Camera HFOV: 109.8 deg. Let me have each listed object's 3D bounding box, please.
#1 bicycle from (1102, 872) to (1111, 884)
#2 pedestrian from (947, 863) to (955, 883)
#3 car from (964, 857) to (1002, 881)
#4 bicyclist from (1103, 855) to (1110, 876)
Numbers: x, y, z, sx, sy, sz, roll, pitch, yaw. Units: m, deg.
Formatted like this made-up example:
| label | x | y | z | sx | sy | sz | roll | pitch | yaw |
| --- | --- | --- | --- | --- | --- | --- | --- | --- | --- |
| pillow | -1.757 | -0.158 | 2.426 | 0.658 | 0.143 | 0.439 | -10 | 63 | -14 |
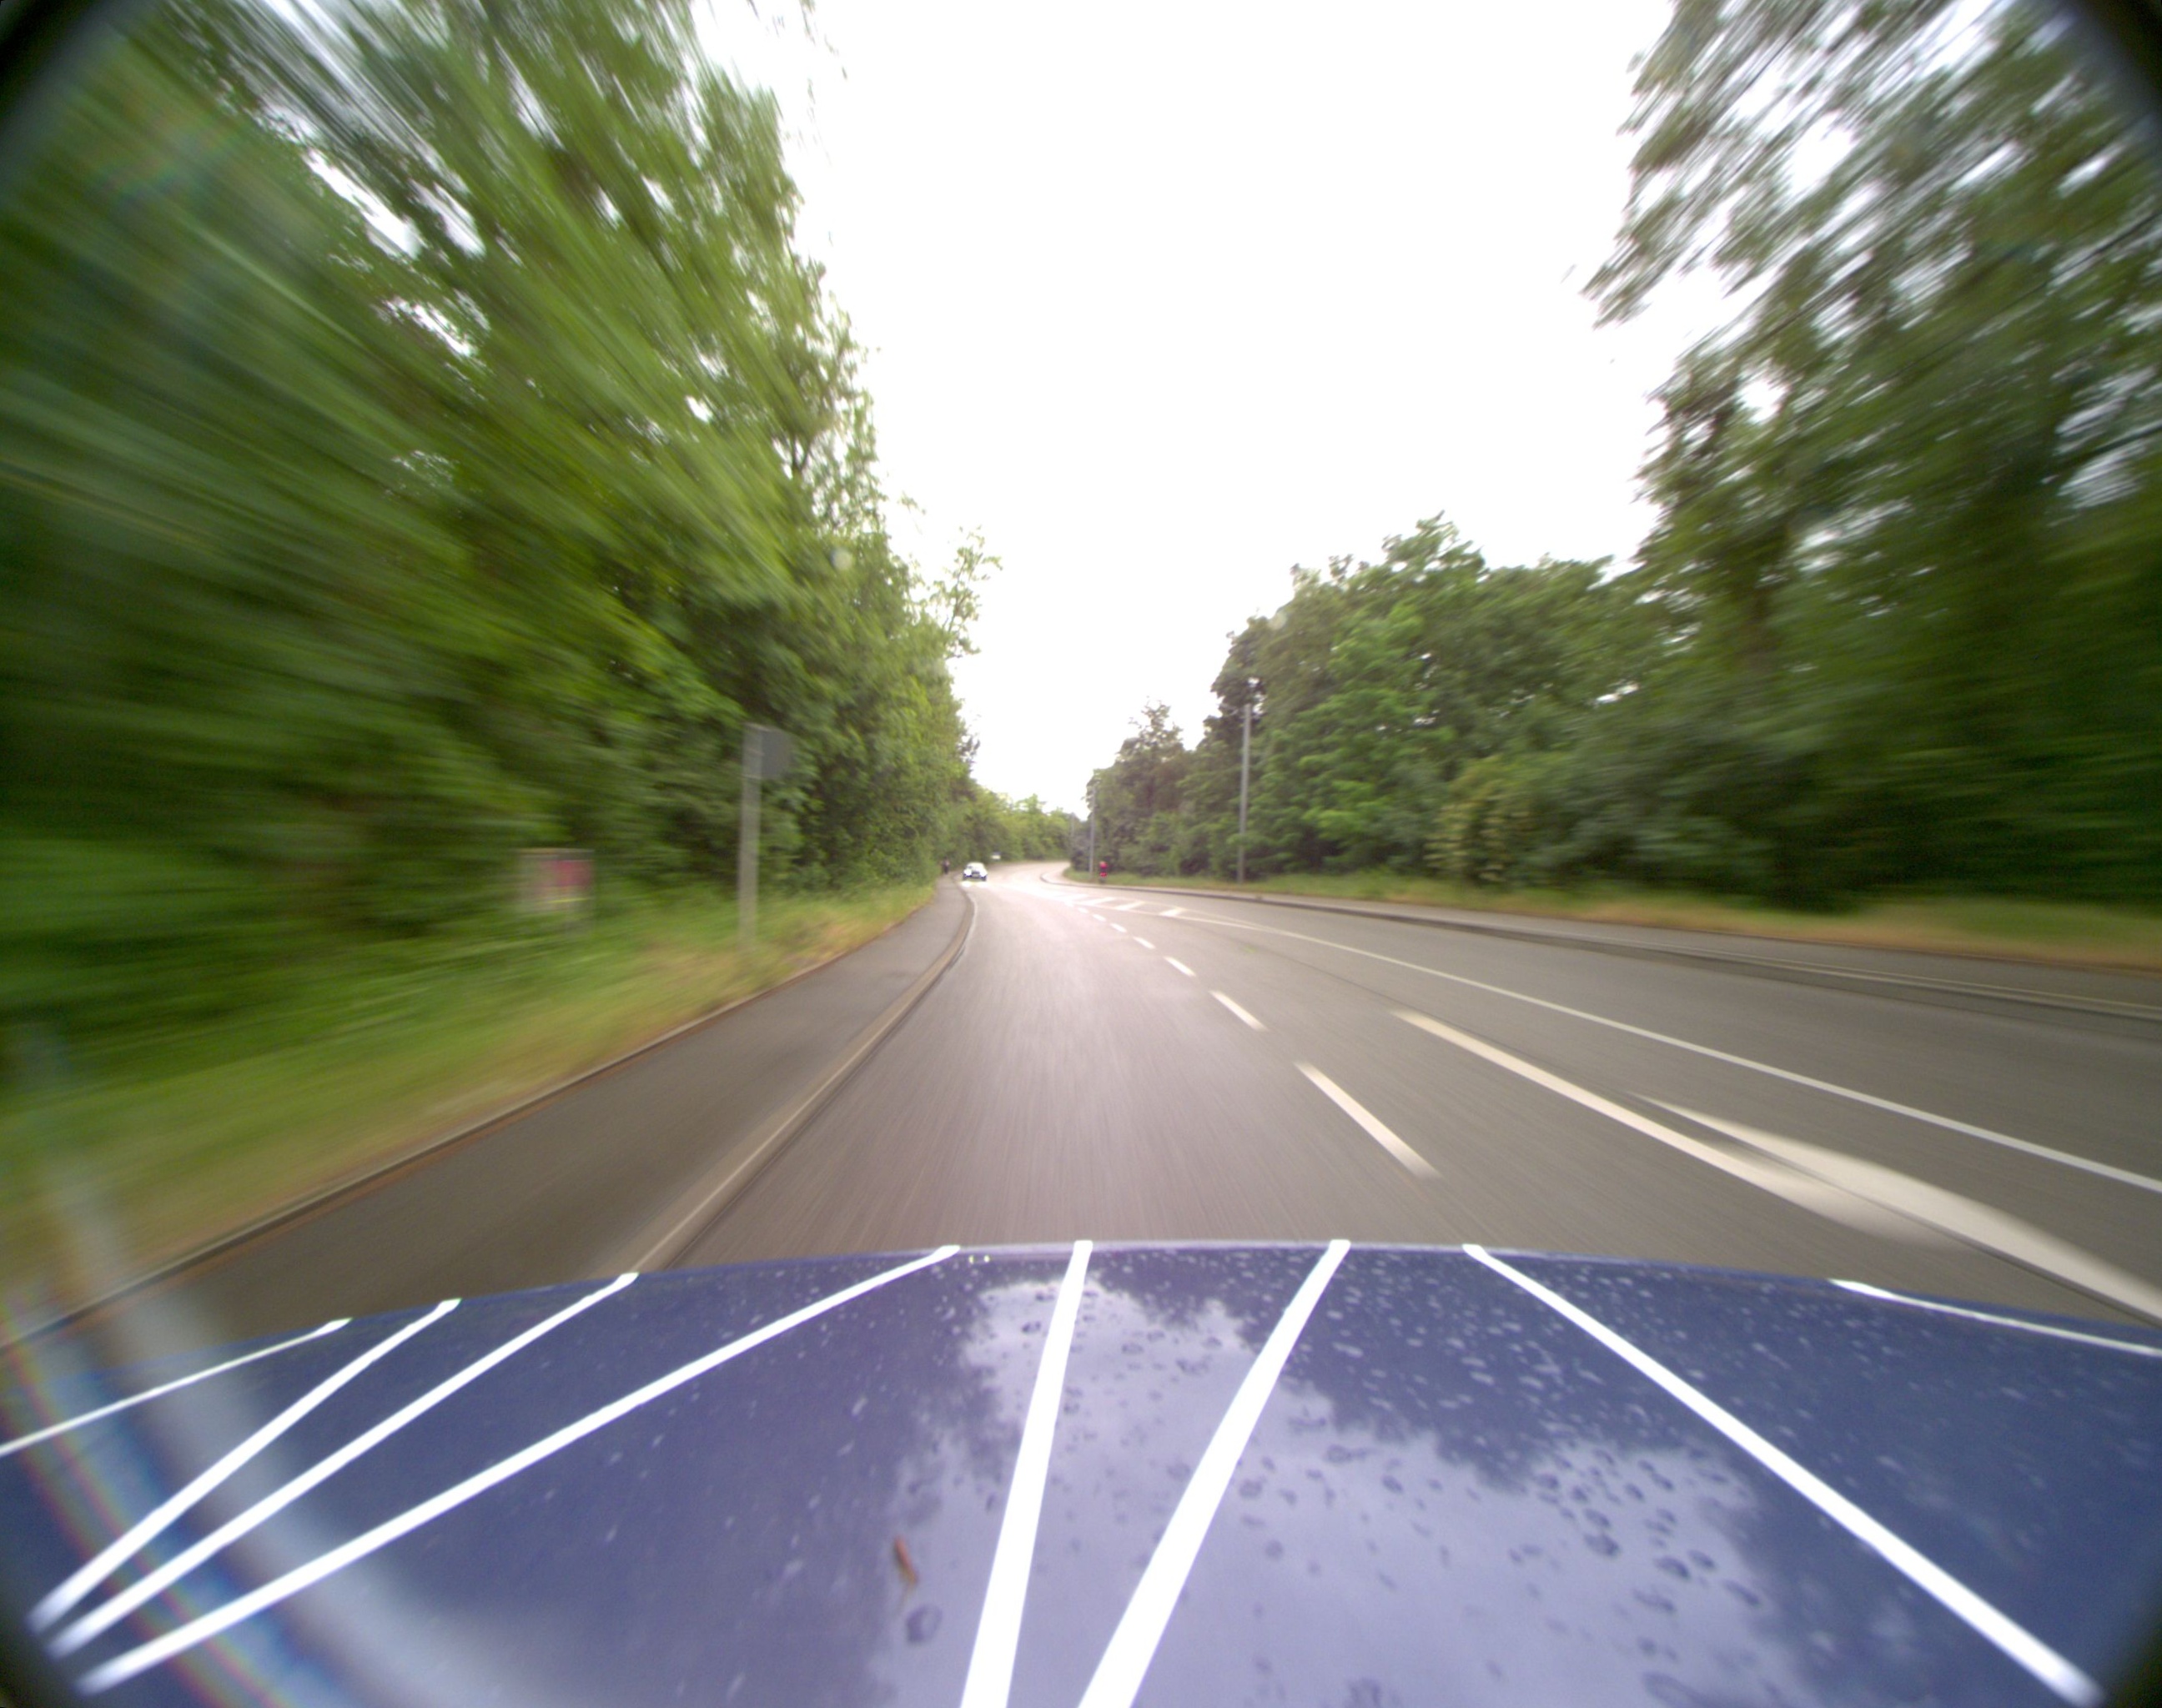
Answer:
| label | x | y | z | sx | sy | sz | roll | pitch | yaw |
| --- | --- | --- | --- | --- | --- | --- | --- | --- | --- |
| bicycle | 1.847 | 1.731 | 55.720 | 0.357 | 0.844 | 2.092 | 0 | -1 | -7 |
| pedestrian | -10.936 | 1.614 | 63.915 | 0.566 | 1.568 | 0.769 | 4 | 3 | -7 |
| car | -7.747 | 1.234 | 60.250 | 1.830 | 1.511 | 4.005 | 8 | -2 | 8 |
| bicyclist | 1.848 | 0.854 | 55.745 | 0.337 | 1.565 | 1.297 | 0 | -1 | -7 |
